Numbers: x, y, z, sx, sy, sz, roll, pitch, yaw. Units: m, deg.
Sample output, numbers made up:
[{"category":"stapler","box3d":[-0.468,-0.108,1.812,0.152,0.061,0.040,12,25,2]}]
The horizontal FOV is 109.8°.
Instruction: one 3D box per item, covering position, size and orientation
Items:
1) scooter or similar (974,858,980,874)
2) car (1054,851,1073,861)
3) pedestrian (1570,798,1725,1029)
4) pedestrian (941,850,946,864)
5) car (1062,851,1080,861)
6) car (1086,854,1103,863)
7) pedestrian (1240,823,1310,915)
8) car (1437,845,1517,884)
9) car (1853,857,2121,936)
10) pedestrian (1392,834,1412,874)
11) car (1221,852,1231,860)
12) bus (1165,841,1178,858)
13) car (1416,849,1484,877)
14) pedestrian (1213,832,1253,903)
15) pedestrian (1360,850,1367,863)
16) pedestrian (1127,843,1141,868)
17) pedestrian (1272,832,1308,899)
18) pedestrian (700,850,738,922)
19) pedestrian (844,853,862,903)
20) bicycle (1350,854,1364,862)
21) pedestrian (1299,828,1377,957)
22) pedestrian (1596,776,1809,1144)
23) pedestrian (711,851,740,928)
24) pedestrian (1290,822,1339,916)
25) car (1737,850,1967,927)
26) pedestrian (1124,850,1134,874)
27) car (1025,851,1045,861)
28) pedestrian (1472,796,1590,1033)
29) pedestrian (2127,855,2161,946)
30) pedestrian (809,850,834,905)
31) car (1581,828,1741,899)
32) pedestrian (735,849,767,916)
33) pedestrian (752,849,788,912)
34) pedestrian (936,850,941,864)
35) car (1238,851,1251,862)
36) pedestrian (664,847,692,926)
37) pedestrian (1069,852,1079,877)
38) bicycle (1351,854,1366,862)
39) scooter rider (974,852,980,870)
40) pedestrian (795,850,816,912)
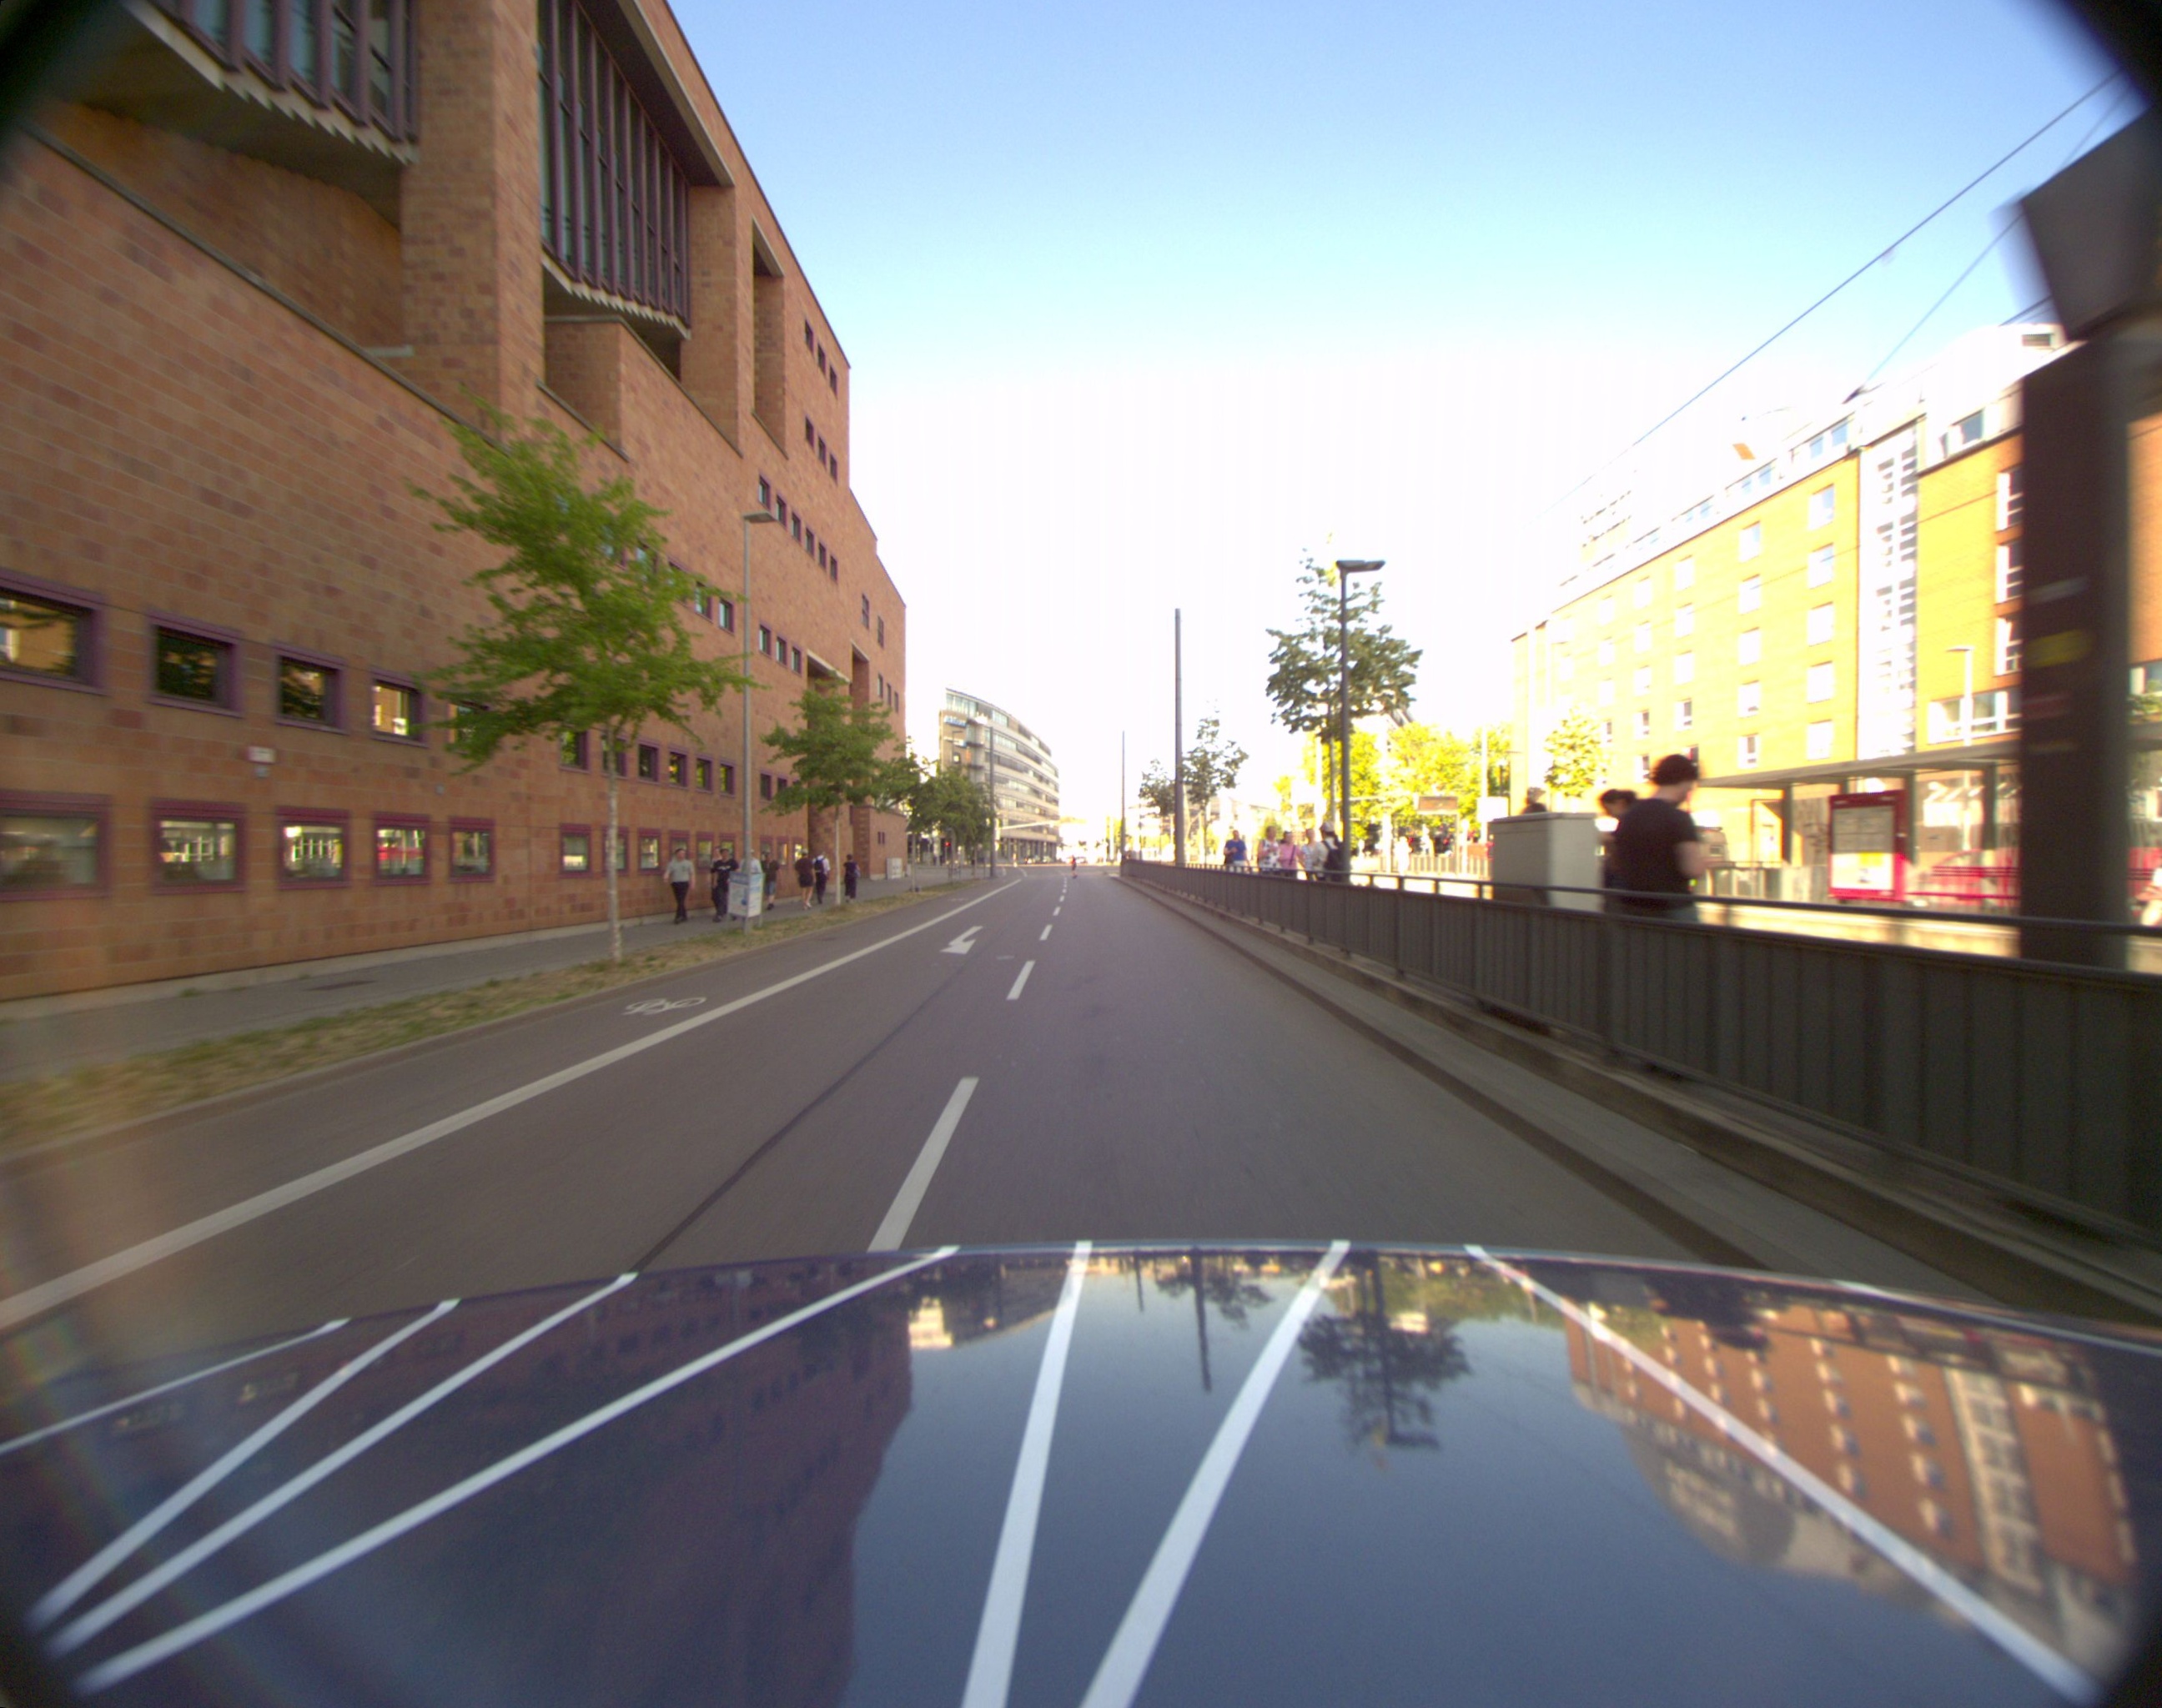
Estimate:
[{"category":"scooter or similar","box3d":[-8.426,0.987,61.578,0.529,1.310,1.132,0,0,-7]},{"category":"car","box3d":[-2.788,0.294,120.511,1.901,1.611,3.871,0,-1,16]},{"category":"pedestrian","box3d":[4.431,0.444,5.987,0.721,1.722,0.651,0,1,0]},{"category":"pedestrian","box3d":[-18.696,0.418,103.330,0.547,1.813,0.374,0,1,-13]},{"category":"car","box3d":[-1.587,0.374,124.770,1.901,1.611,4.177,0,-1,16]},{"category":"car","box3d":[2.331,0.798,129.415,1.901,1.611,4.177,0,-1,16]},{"category":"pedestrian","box3d":[3.694,0.266,14.455,0.888,1.662,1.098,1,1,41]},{"category":"car","box3d":[24.237,0.574,46.800,2.084,2.276,5.263,0,1,-1]},{"category":"car","box3d":[23.390,1.015,19.930,1.891,1.855,4.316,0,-1,0]},{"category":"pedestrian","box3d":[13.517,0.003,31.993,0.677,1.674,0.577,0,1,34]},{"category":"car","box3d":[26.635,0.394,139.404,1.690,1.419,4.003,0,0,9]},{"category":"bus","box3d":[19.135,-0.924,160.161,2.723,3.388,9.674,0,-1,7]},{"category":"car","box3d":[20.996,0.528,43.466,1.891,1.523,4.000,0,-1,-1]},{"category":"pedestrian","box3d":[3.627,0.320,18.146,0.889,1.662,0.673,0,1,15]},{"category":"pedestrian","box3d":[40.577,0.352,109.210,0.892,1.754,0.732,1,0,10]},{"category":"pedestrian","box3d":[3.324,0.111,47.452,0.714,1.530,0.852,0,1,12]},{"category":"pedestrian","box3d":[4.709,0.252,17.153,0.683,1.475,0.829,0,1,8]},{"category":"pedestrian","box3d":[-9.028,0.781,18.946,0.537,1.746,0.696,0,1,11]},{"category":"pedestrian","box3d":[-7.407,0.779,24.659,0.518,1.596,0.703,0,1,-19]},{"category":"bicycle","box3d":[39.071,0.585,107.564,1.841,1.123,0.776,0,1,6]},{"category":"pedestrian","box3d":[3.205,0.458,9.563,0.674,1.553,0.906,0,1,0]},{"category":"pedestrian","box3d":[3.030,0.481,3.763,0.506,1.669,0.651,0,1,0]},{"category":"pedestrian","box3d":[-8.233,0.800,17.592,0.539,1.746,0.463,-1,1,-35]},{"category":"pedestrian","box3d":[4.288,0.265,13.927,0.657,1.662,0.673,1,1,37]},{"category":"car","box3d":[20.521,0.865,20.542,1.890,1.855,4.316,0,-1,1]},{"category":"pedestrian","box3d":[3.059,0.501,48.357,0.490,1.530,0.552,0,1,15]},{"category":"car","box3d":[-7.390,0.335,122.929,1.901,1.611,4.177,0,-1,16]},{"category":"pedestrian","box3d":[3.423,0.440,5.825,0.506,1.722,0.651,0,1,0]},{"category":"pedestrian","box3d":[14.395,0.610,9.750,0.674,1.183,0.906,0,1,0]},{"category":"pedestrian","box3d":[-8.196,0.736,24.016,0.574,1.703,0.639,-1,1,-37]},{"category":"car","box3d":[20.818,0.319,27.619,2.051,2.344,4.920,0,0,0]},{"category":"pedestrian","box3d":[-8.722,0.730,20.082,0.538,1.746,0.695,0,1,-1]},{"category":"pedestrian","box3d":[-8.784,0.730,21.469,0.734,1.746,0.695,0,1,-4]},{"category":"pedestrian","box3d":[-19.382,0.415,103.240,0.589,1.813,0.544,0,1,-12]},{"category":"car","box3d":[38.565,0.681,179.361,1.995,2.465,5.985,0,-1,23]},{"category":"pedestrian","box3d":[-9.037,0.714,17.053,0.539,1.746,0.421,0,1,-29]},{"category":"pedestrian","box3d":[-0.476,0.695,52.392,0.624,1.692,0.749,0,1,-4]},{"category":"bicycle","box3d":[38.933,0.575,106.725,1.841,1.123,0.776,0,1,6]},{"category":"scooter rider","box3d":[-8.429,0.568,61.612,0.507,1.452,0.721,0,1,-7]},{"category":"pedestrian","box3d":[-7.846,0.770,21.642,0.538,1.746,0.421,0,1,-16]}]
